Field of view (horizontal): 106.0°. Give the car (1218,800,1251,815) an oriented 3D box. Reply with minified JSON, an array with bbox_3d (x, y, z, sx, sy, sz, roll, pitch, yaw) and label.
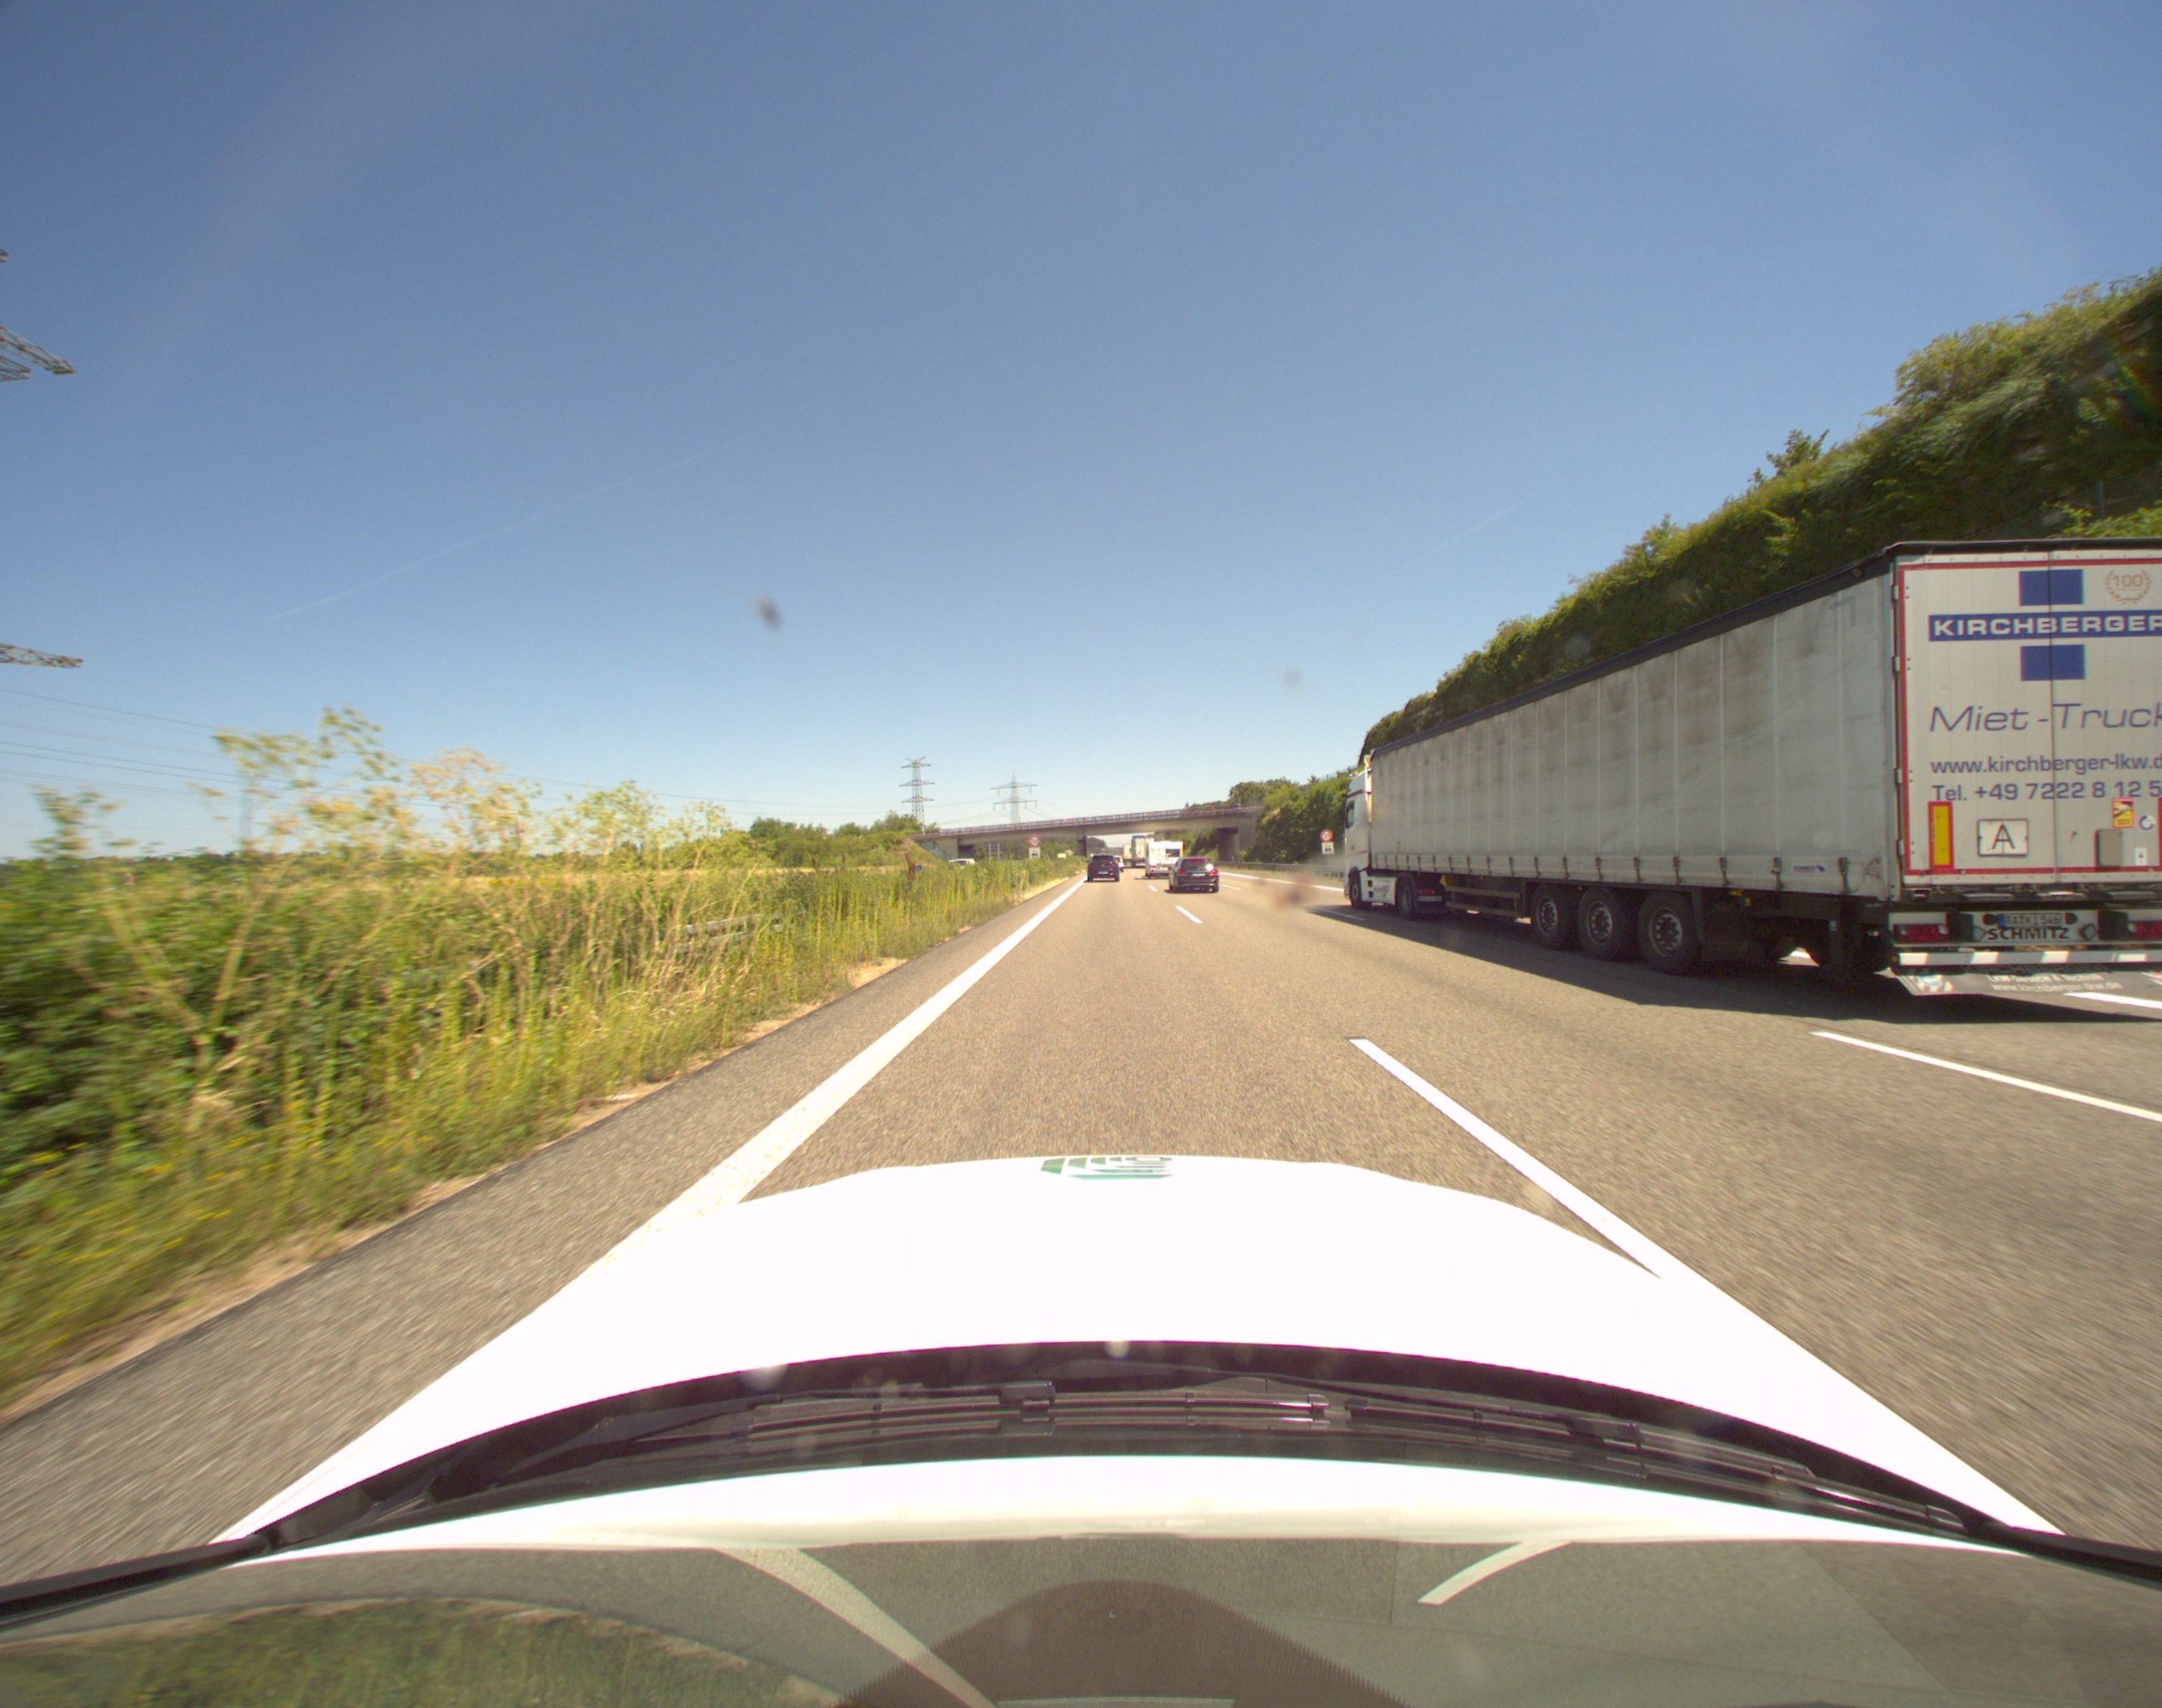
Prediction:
[{"bbox_3d":[21.086,-6.409,111.897,3.948,1.651,2.013,-4,-3,34],"label":"car"}]

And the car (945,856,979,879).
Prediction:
[{"bbox_3d":[-10.791,1.161,74.254,1.989,1.986,5.841,-1,0,2],"label":"car"}]

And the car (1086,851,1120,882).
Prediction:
[{"bbox_3d":[1.381,0.743,50.820,1.986,1.772,4.001,-2,0,1],"label":"car"}]

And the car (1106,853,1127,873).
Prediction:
[{"bbox_3d":[3.502,0.865,81.221,1.954,1.814,4.450,-2,0,2],"label":"car"}]

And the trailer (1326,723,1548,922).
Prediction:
[{"bbox_3d":[8.485,-0.649,20.494,2.703,4.102,6.791,-1,0,2],"label":"trailer"}]

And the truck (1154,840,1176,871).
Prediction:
[{"bbox_3d":[13.306,0.262,129.831,3.074,4.885,8.803,0,-1,3],"label":"truck"}]

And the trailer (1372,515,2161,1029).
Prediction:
[{"bbox_3d":[8.287,-0.644,13.180,2.718,4.102,13.194,-1,0,2],"label":"trailer"}]

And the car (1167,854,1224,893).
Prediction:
[{"bbox_3d":[4.787,0.772,34.707,1.834,1.505,4.739,-2,0,2],"label":"car"}]

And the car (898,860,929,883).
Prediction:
[{"bbox_3d":[-15.269,1.563,74.438,1.889,1.978,3.988,-1,0,1],"label":"car"}]

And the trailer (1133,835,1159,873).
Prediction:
[{"bbox_3d":[8.610,0.060,108.998,3.074,4.885,12.266,0,-1,3],"label":"trailer"}]

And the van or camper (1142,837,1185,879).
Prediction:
[{"bbox_3d":[5.627,0.272,56.344,2.430,2.675,6.352,-2,0,2],"label":"van or camper"}]

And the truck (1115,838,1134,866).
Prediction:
[{"bbox_3d":[8.553,-0.384,159.129,3.498,5.166,10.265,-1,0,3],"label":"truck"}]
